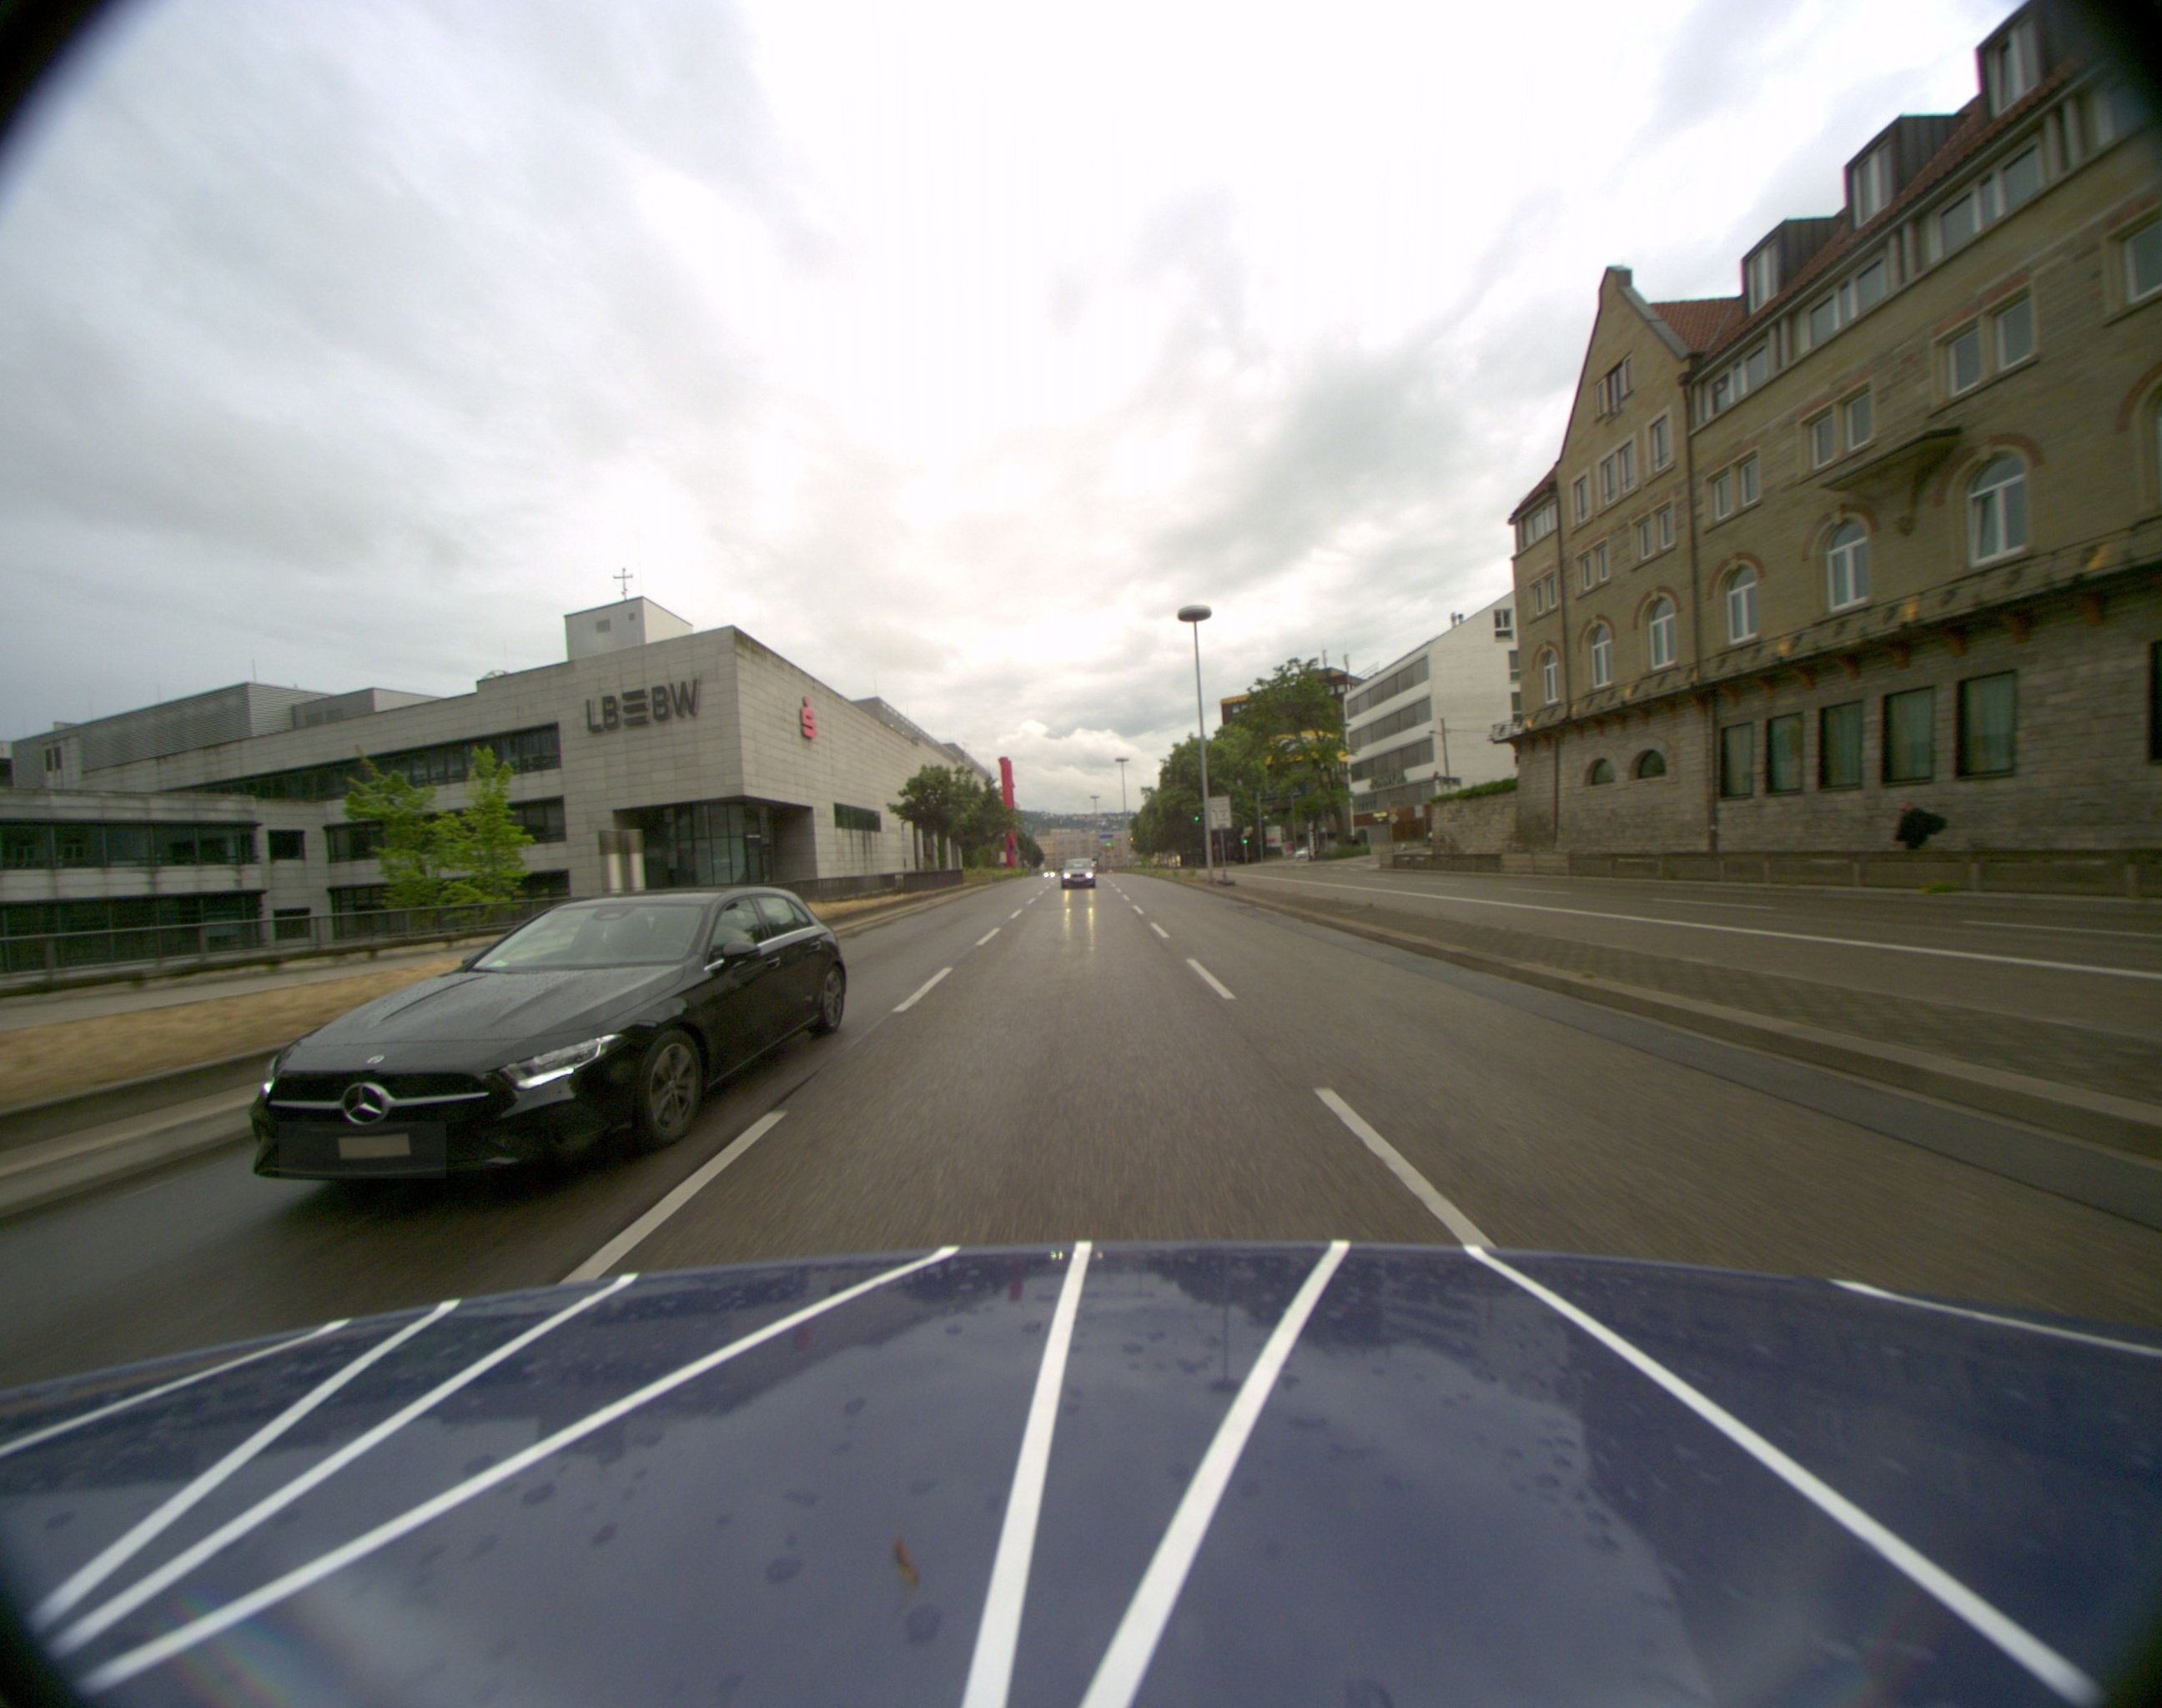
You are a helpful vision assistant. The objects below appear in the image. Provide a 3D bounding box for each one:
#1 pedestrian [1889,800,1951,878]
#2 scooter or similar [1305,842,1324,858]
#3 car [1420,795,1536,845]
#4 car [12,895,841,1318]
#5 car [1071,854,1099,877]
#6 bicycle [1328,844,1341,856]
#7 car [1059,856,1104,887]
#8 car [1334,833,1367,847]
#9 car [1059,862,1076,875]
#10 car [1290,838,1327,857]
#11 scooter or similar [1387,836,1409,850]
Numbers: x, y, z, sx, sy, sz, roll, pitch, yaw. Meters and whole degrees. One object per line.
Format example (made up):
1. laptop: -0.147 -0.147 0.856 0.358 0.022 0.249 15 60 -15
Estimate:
1. pedestrian: 19.190 -0.329 17.382 0.642 1.735 0.621 -2 -1 2
2. scooter or similar: 20.945 -0.378 68.067 1.757 1.240 0.369 -6 1 -29
3. car: 29.149 -2.470 56.039 6.919 2.261 2.516 -10 -4 1
4. car: -3.242 1.106 5.097 1.877 1.428 4.206 -3 -1 0
5. car: 0.328 0.814 54.153 1.863 1.449 4.205 -3 0 2
6. bicycle: 21.288 -0.324 63.877 0.458 0.985 1.758 -4 0 0
7. car: 0.084 0.855 38.841 1.862 1.428 4.207 -2 0 5
8. car: 38.237 -1.981 107.951 3.990 1.674 1.824 -4 0 43
9. car: -1.609 1.679 89.332 1.863 1.428 4.204 -3 0 -1
10. car: 24.865 -0.721 82.949 1.995 1.644 4.851 -5 0 39
11. scooter or similar: 24.885 -0.872 59.613 1.473 0.916 0.444 -8 -1 -2
